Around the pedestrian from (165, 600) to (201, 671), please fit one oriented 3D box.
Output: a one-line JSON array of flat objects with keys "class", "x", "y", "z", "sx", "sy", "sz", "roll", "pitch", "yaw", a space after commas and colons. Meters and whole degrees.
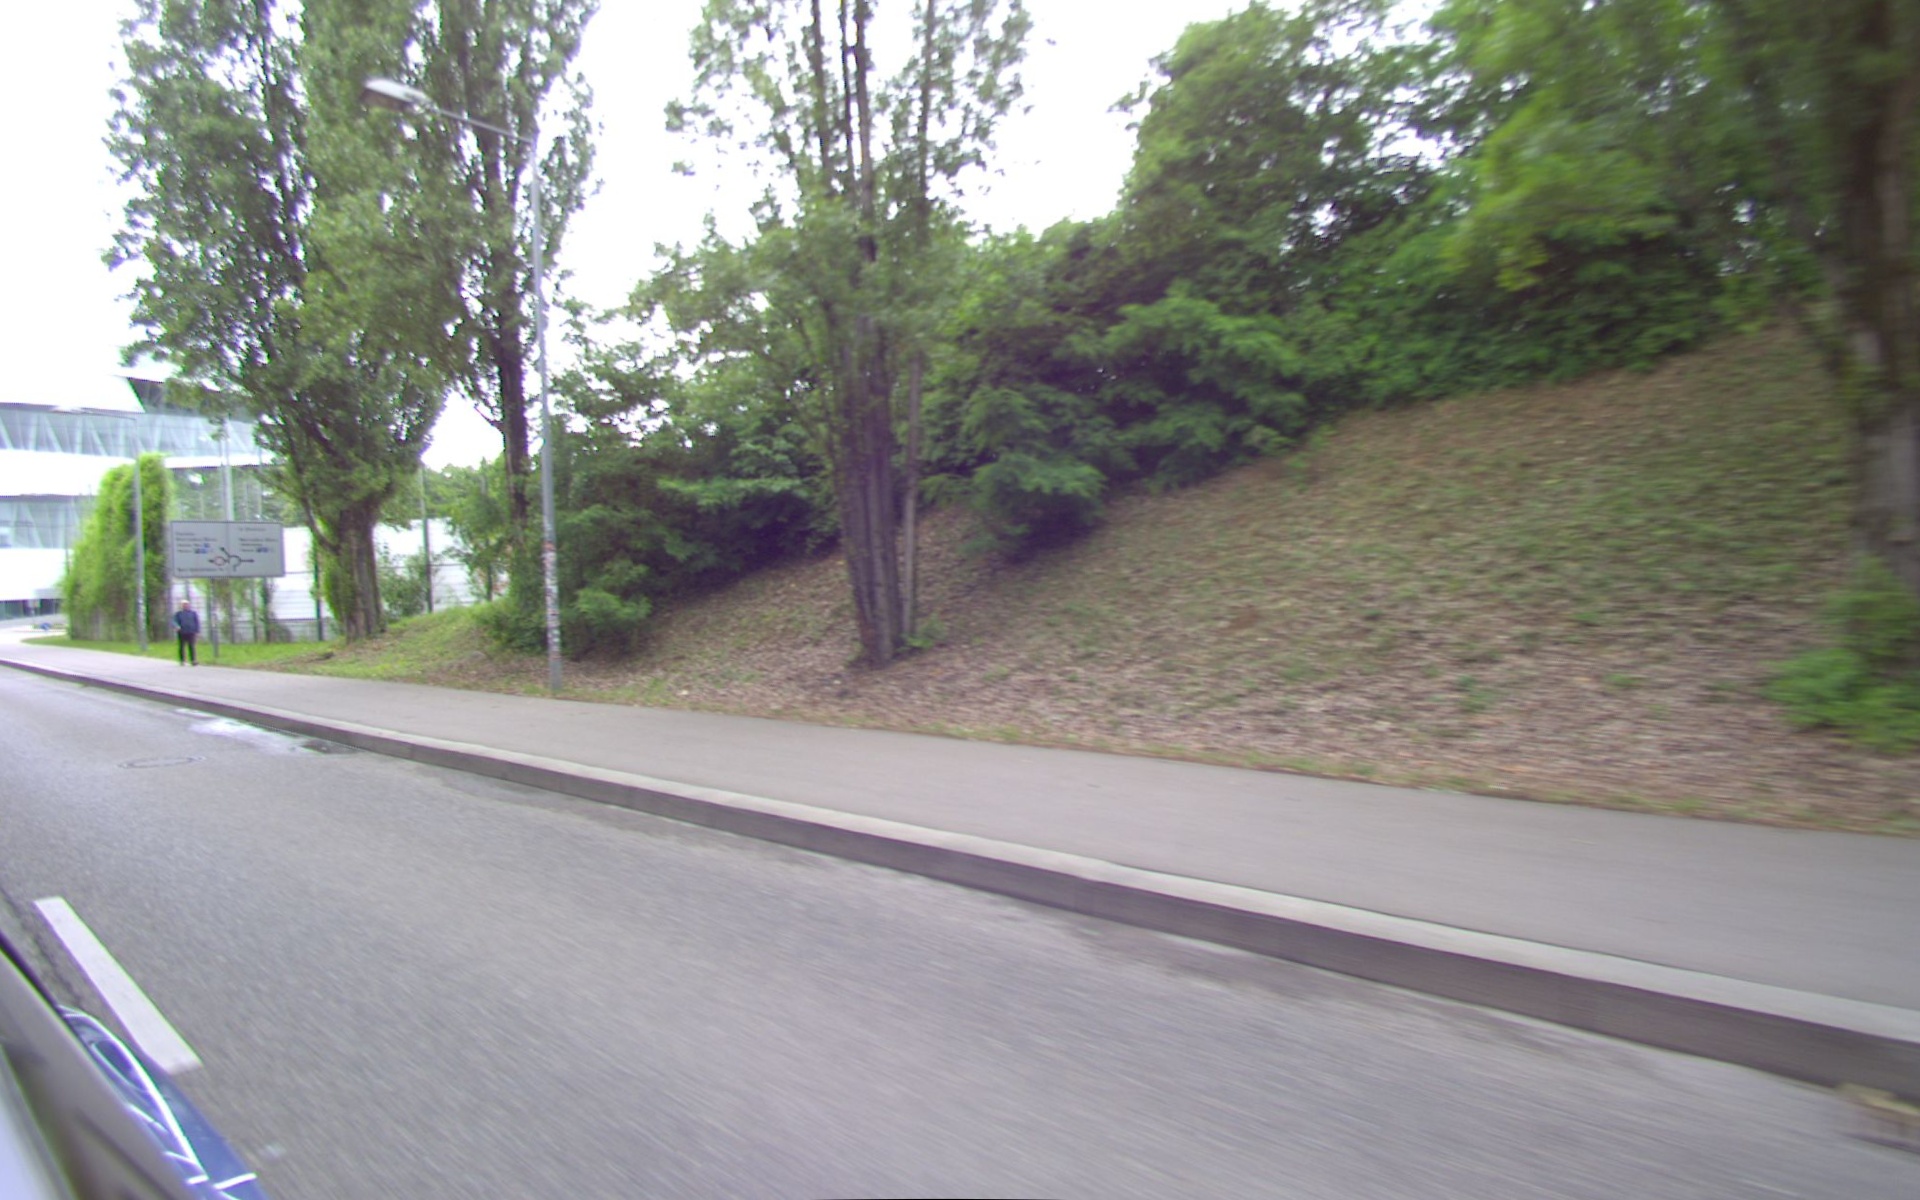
[{"class": "pedestrian", "x": -21.444, "y": 0.959, "z": 27.924, "sx": 0.736, "sy": 1.908, "sz": 0.654, "roll": -1, "pitch": 0, "yaw": 41}]
